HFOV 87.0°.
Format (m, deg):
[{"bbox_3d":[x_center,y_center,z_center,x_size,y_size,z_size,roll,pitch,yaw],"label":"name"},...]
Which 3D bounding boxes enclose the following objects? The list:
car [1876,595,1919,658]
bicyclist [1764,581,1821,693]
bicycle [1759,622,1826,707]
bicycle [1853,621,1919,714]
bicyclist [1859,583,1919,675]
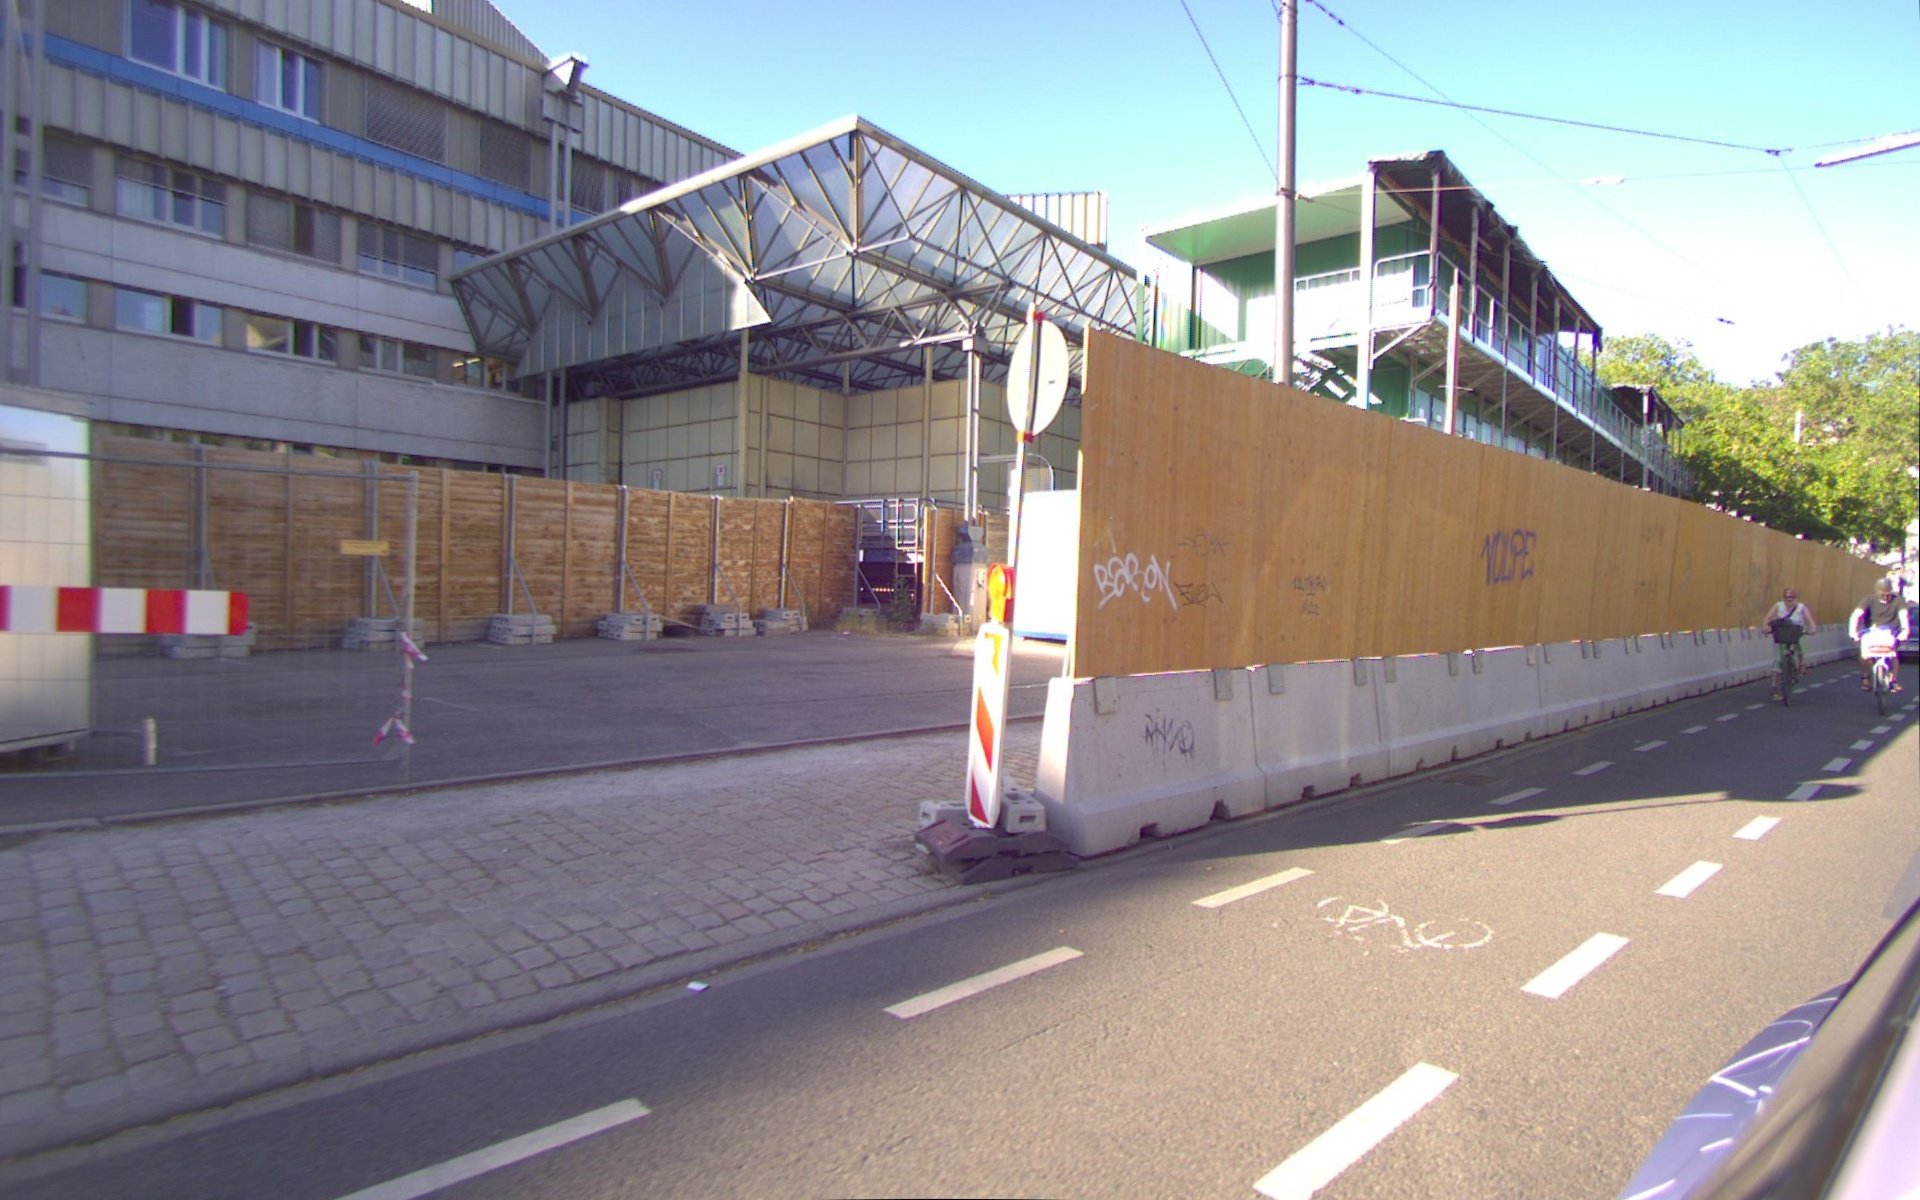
[{"bbox_3d":[27.166,0.787,28.416,4.098,1.642,1.748,3,0,-43],"label":"car"},{"bbox_3d":[12.587,0.537,15.298,0.567,1.633,0.556,1,2,-44],"label":"bicyclist"},{"bbox_3d":[12.424,0.915,15.082,0.557,1.141,2.239,2,1,45],"label":"bicycle"},{"bbox_3d":[13.030,0.903,14.175,0.667,1.169,2.239,0,0,44],"label":"bicycle"},{"bbox_3d":[13.243,0.400,14.359,0.348,1.253,0.652,1,2,-44],"label":"bicyclist"}]
